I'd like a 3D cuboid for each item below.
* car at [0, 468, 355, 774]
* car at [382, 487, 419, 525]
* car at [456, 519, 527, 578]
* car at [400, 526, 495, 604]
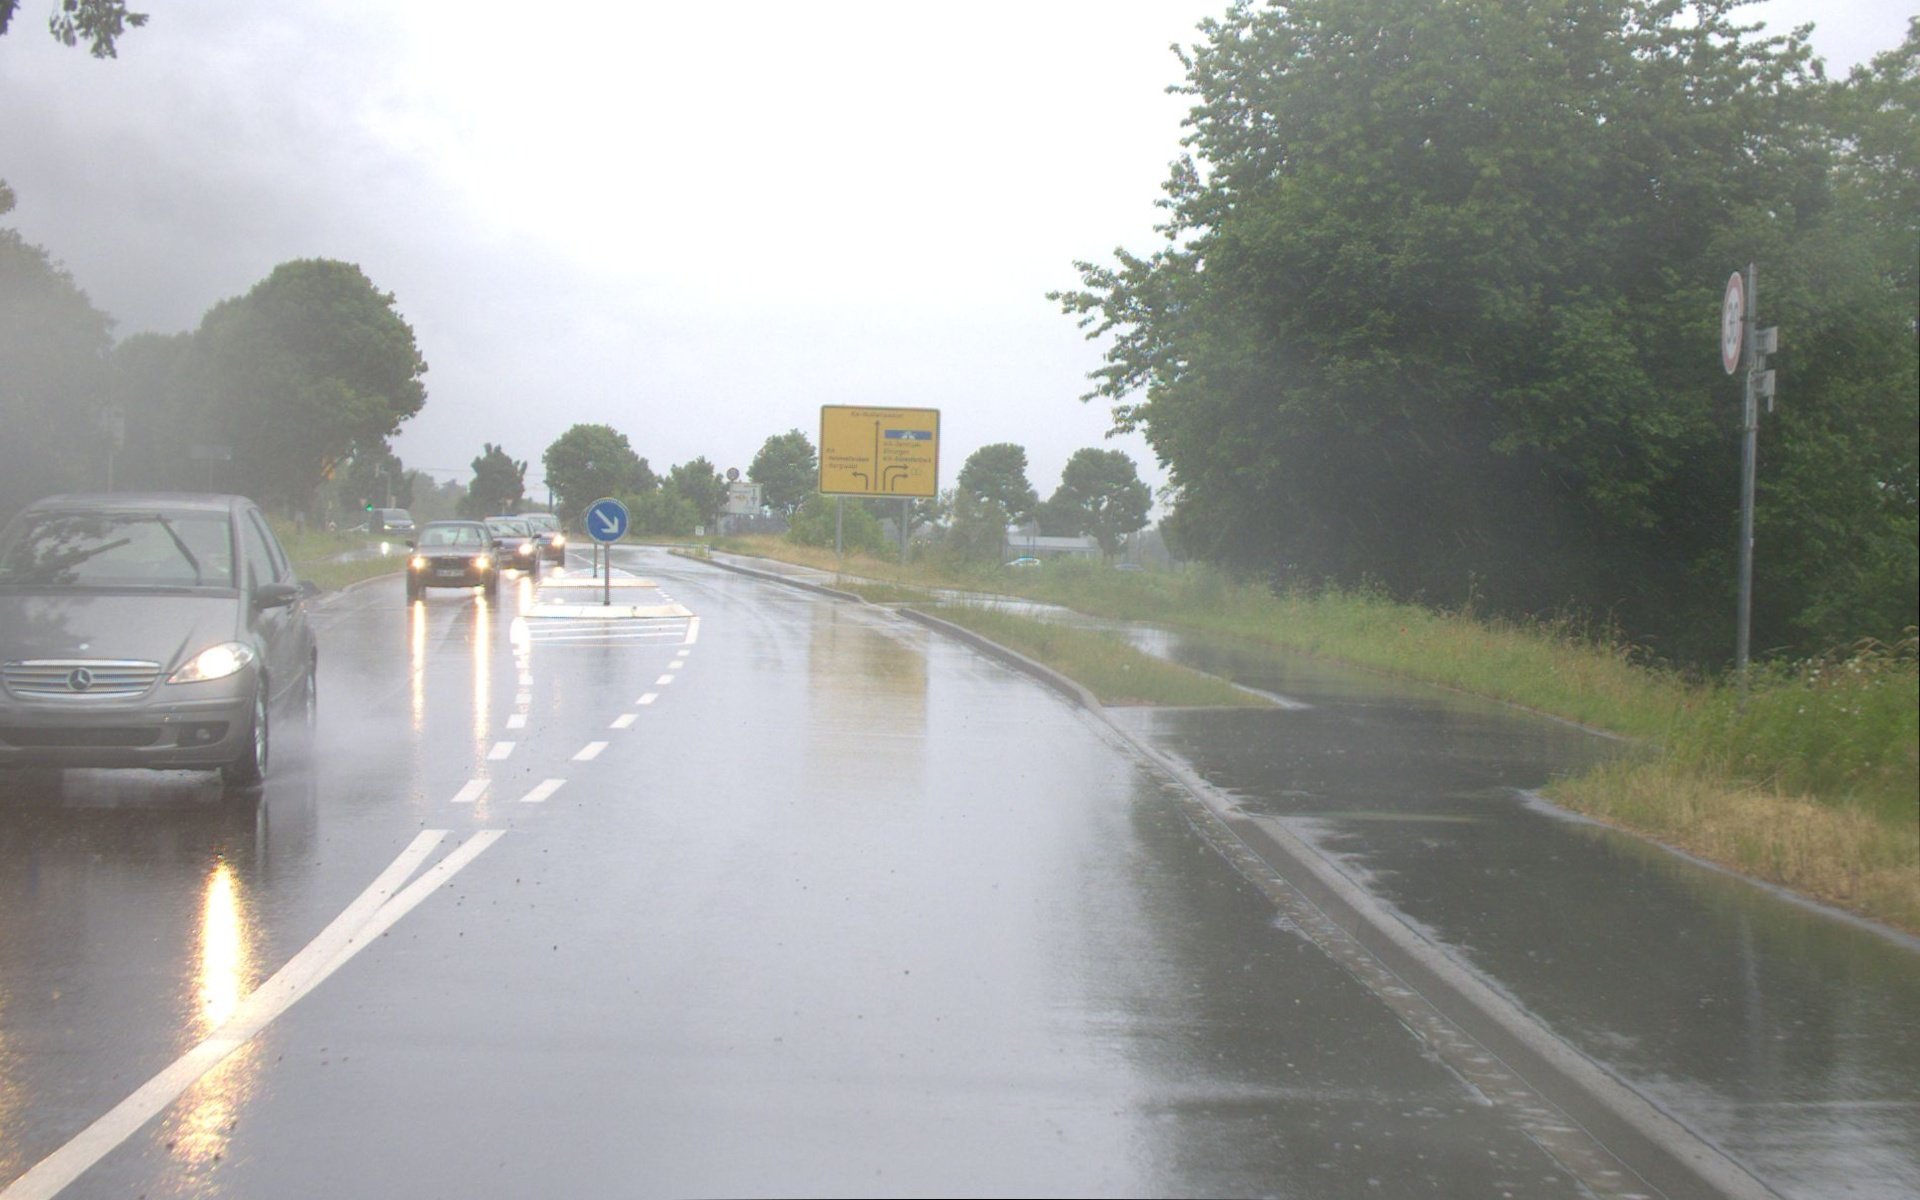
[{"bbox_3d":[-4.538,0.055,19.522,1.760,1.547,4.001,-1,2,-4],"label":"car"},{"bbox_3d":[-32.495,-5.489,199.678,1.993,1.965,4.959,4,2,-9],"label":"car"},{"bbox_3d":[-12.092,-1.344,88.556,1.741,1.440,3.683,0,2,-9],"label":"car"},{"bbox_3d":[-9.551,-0.683,64.155,1.682,1.378,4.226,0,2,-8],"label":"car"}]
